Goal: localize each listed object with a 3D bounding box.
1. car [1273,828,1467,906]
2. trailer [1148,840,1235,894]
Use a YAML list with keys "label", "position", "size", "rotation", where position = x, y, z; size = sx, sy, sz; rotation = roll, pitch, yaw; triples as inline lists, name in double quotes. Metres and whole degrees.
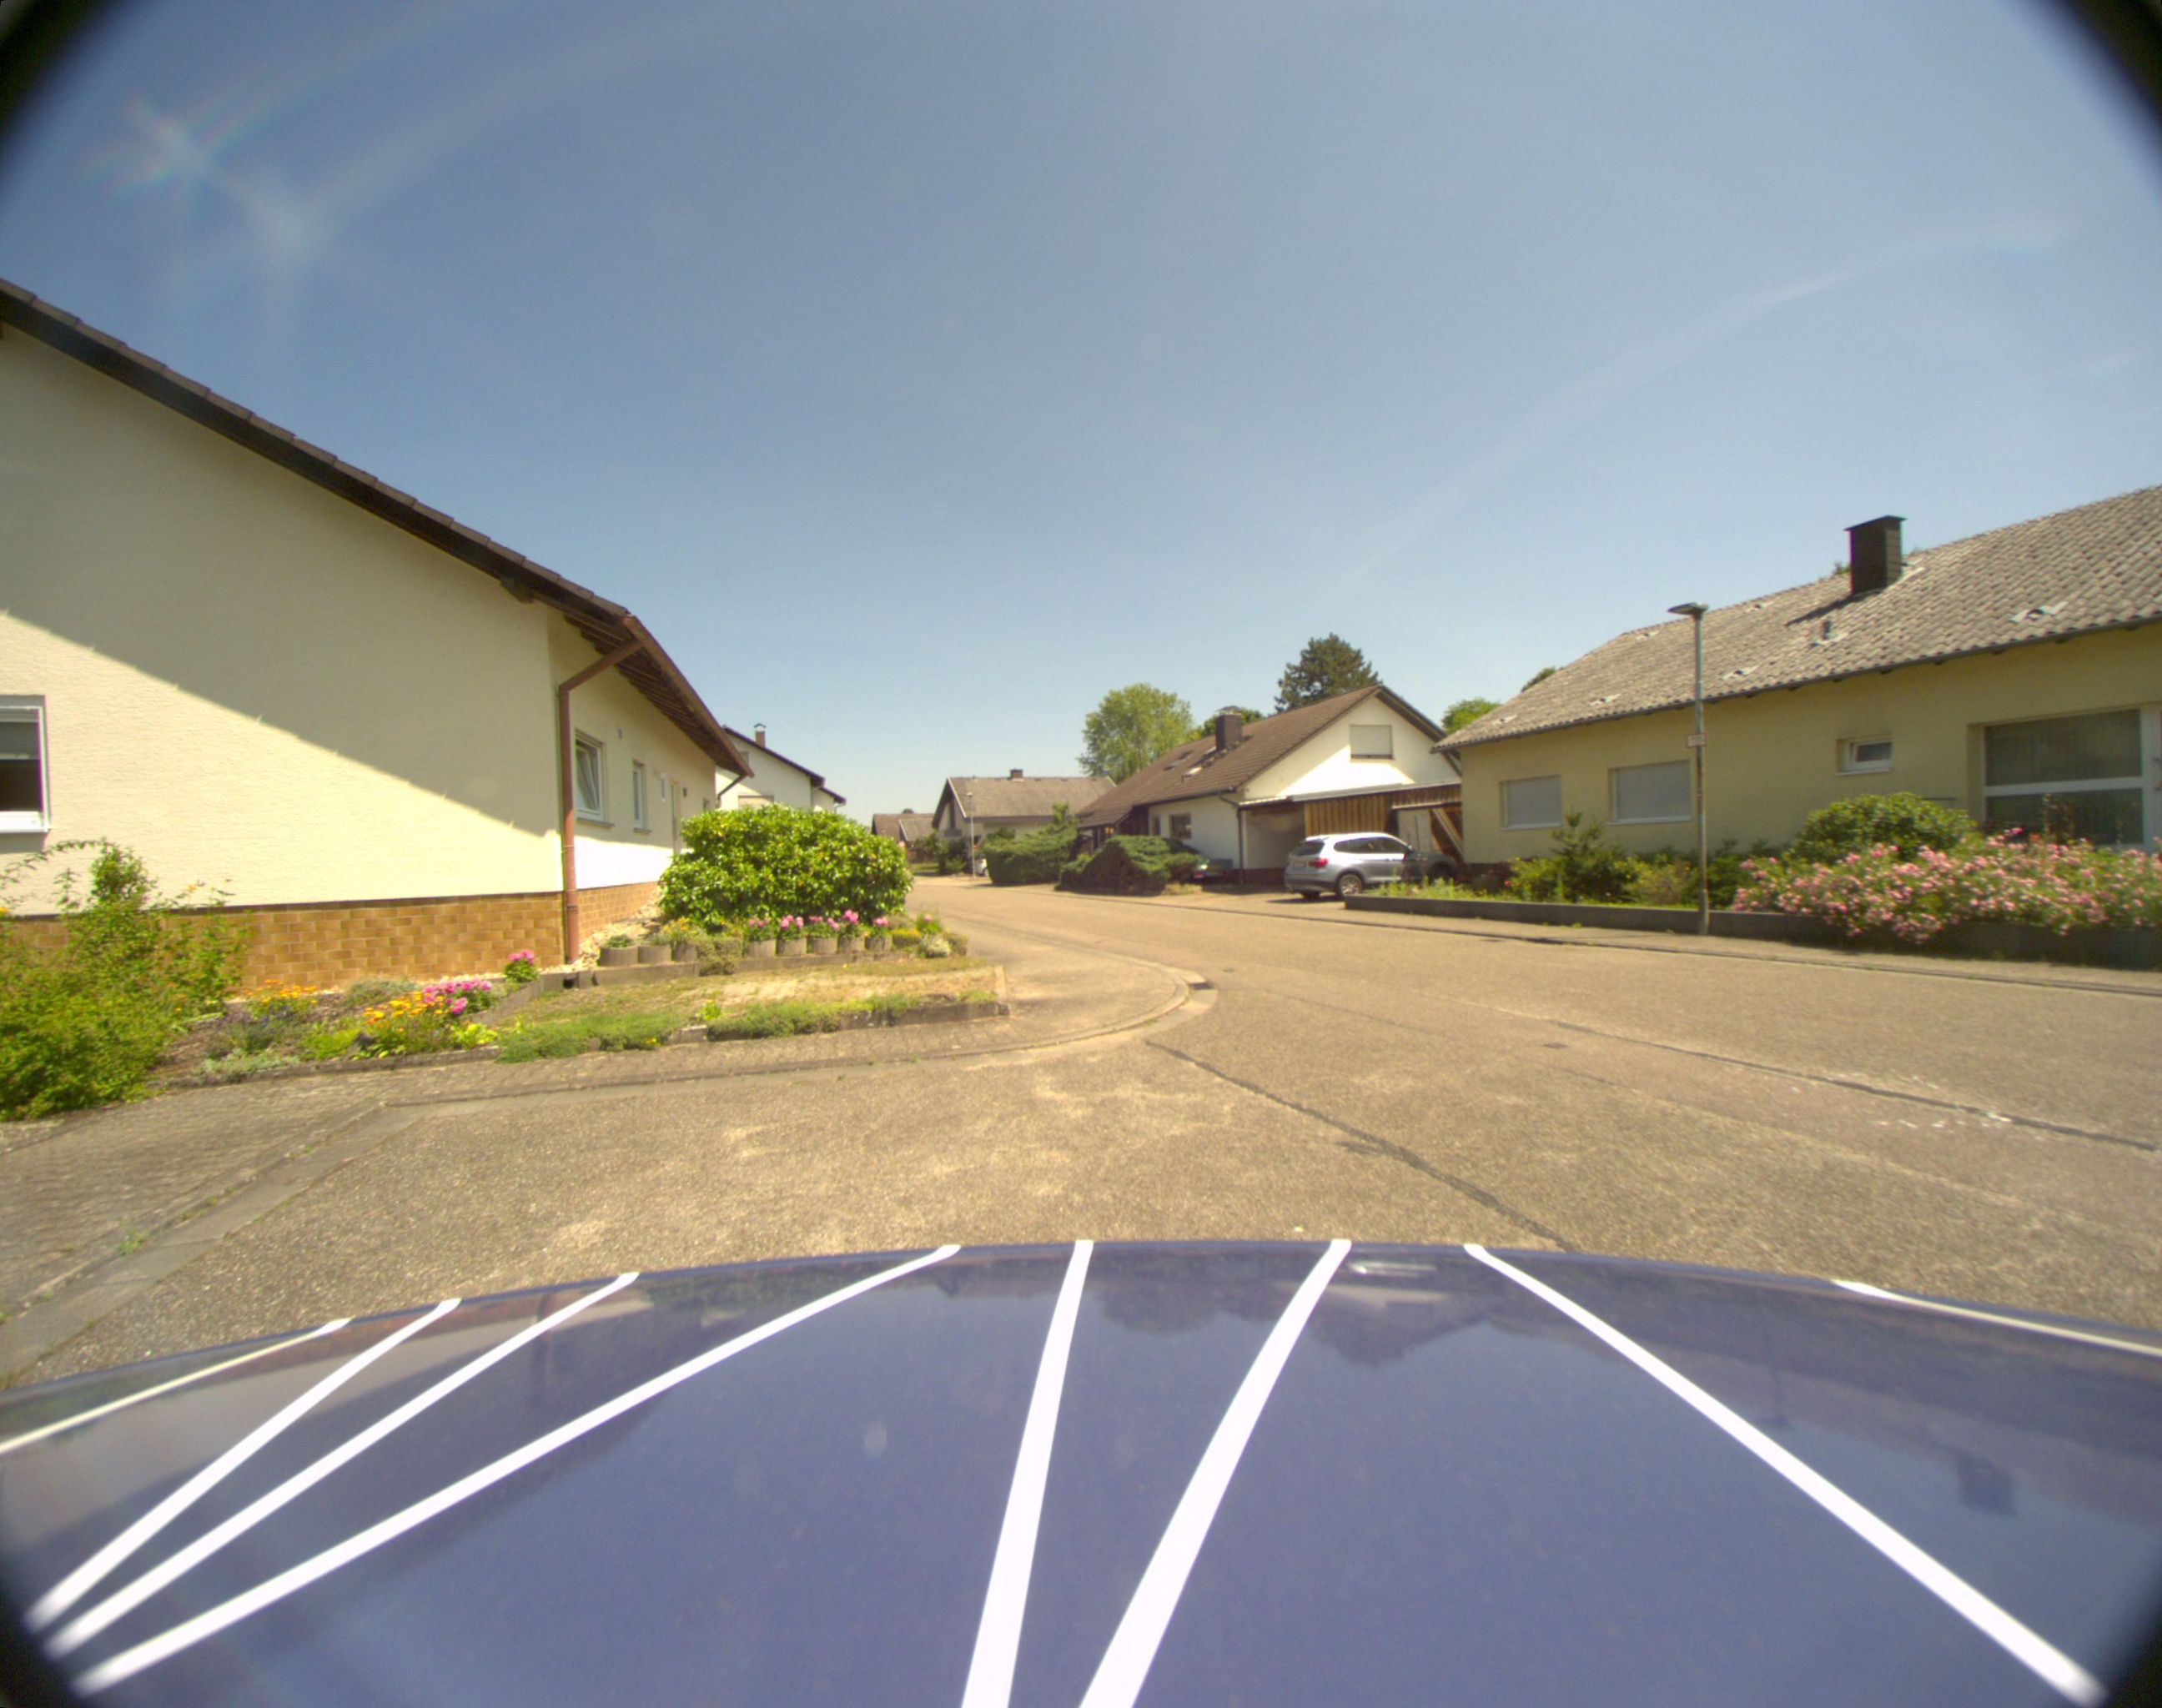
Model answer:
- label: "car"
  position: [7.624, 0.297, 20.062]
  size: [4.645, 1.692, 1.707]
  rotation: [-4, 1, -17]
- label: "trailer"
  position: [3.815, 0.413, 26.754]
  size: [1.593, 1.663, 3.290]
  rotation: [-4, 2, -19]
